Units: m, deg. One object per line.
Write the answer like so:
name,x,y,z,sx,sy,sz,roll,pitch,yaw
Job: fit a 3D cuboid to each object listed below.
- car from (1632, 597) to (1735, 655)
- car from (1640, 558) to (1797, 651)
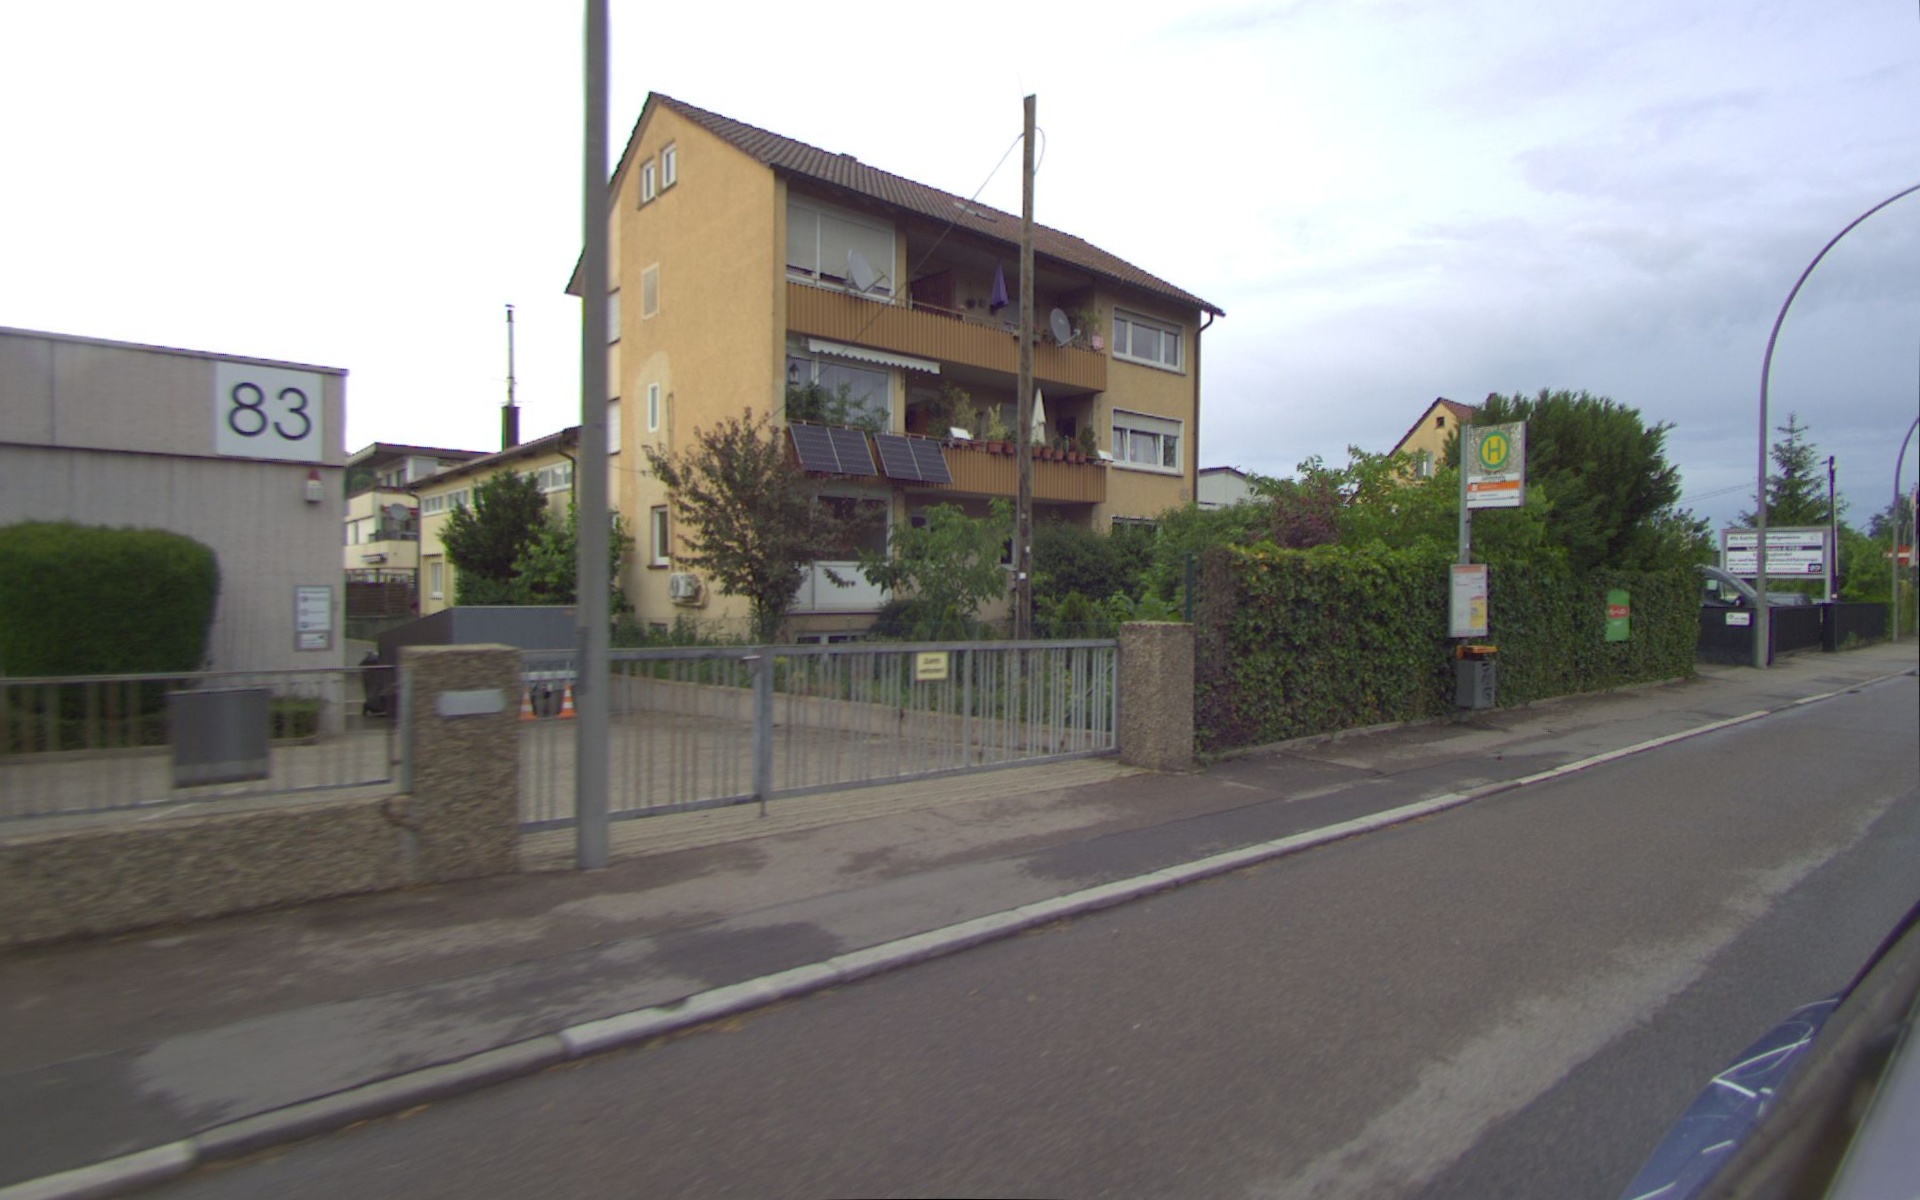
car,18.417,0.626,25.724,3.273,1.389,1.411,0,-1,-41
car,22.786,0.142,30.476,1.915,2.645,3.453,0,-1,-41
